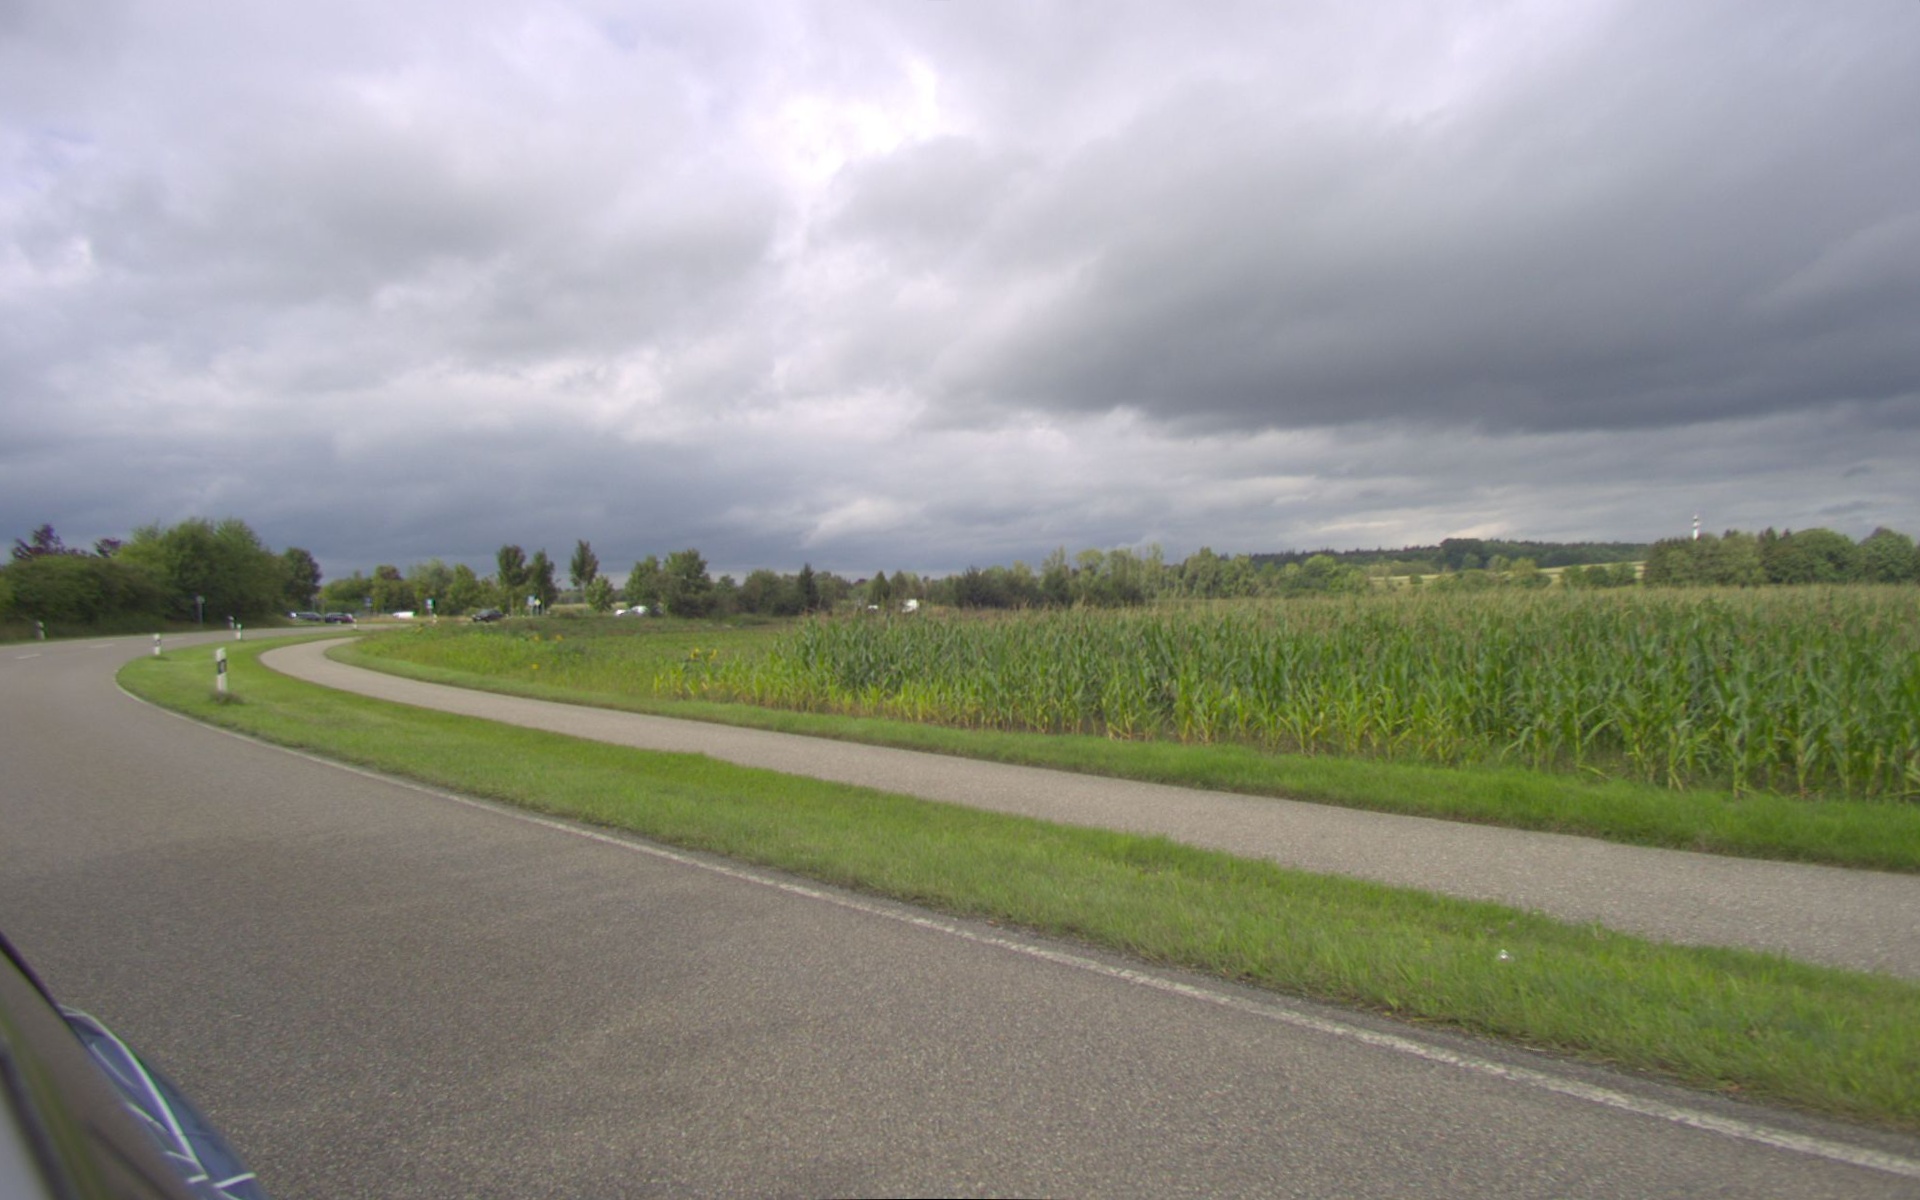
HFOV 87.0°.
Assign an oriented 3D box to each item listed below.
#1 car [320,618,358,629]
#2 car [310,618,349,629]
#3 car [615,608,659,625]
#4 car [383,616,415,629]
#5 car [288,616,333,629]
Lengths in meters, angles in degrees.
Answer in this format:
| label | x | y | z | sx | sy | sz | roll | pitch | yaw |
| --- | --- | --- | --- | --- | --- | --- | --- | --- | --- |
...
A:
| label | x | y | z | sx | sy | sz | roll | pitch | yaw |
| --- | --- | --- | --- | --- | --- | --- | --- | --- | --- |
| car | -84.927 | 3.208 | 138.468 | 3.947 | 1.517 | 2.055 | -1 | -1 | -8 |
| car | -84.113 | 3.100 | 135.033 | 4.095 | 1.425 | 2.005 | -1 | -1 | -15 |
| car | -39.664 | 2.060 | 124.372 | 4.843 | 2.029 | 2.055 | -1 | -1 | 2 |
| car | -87.939 | 3.540 | 158.775 | 3.935 | 1.874 | 2.004 | -1 | -1 | -11 |
| car | -82.894 | 2.837 | 129.181 | 4.417 | 1.593 | 2.005 | -1 | -1 | -15 |
